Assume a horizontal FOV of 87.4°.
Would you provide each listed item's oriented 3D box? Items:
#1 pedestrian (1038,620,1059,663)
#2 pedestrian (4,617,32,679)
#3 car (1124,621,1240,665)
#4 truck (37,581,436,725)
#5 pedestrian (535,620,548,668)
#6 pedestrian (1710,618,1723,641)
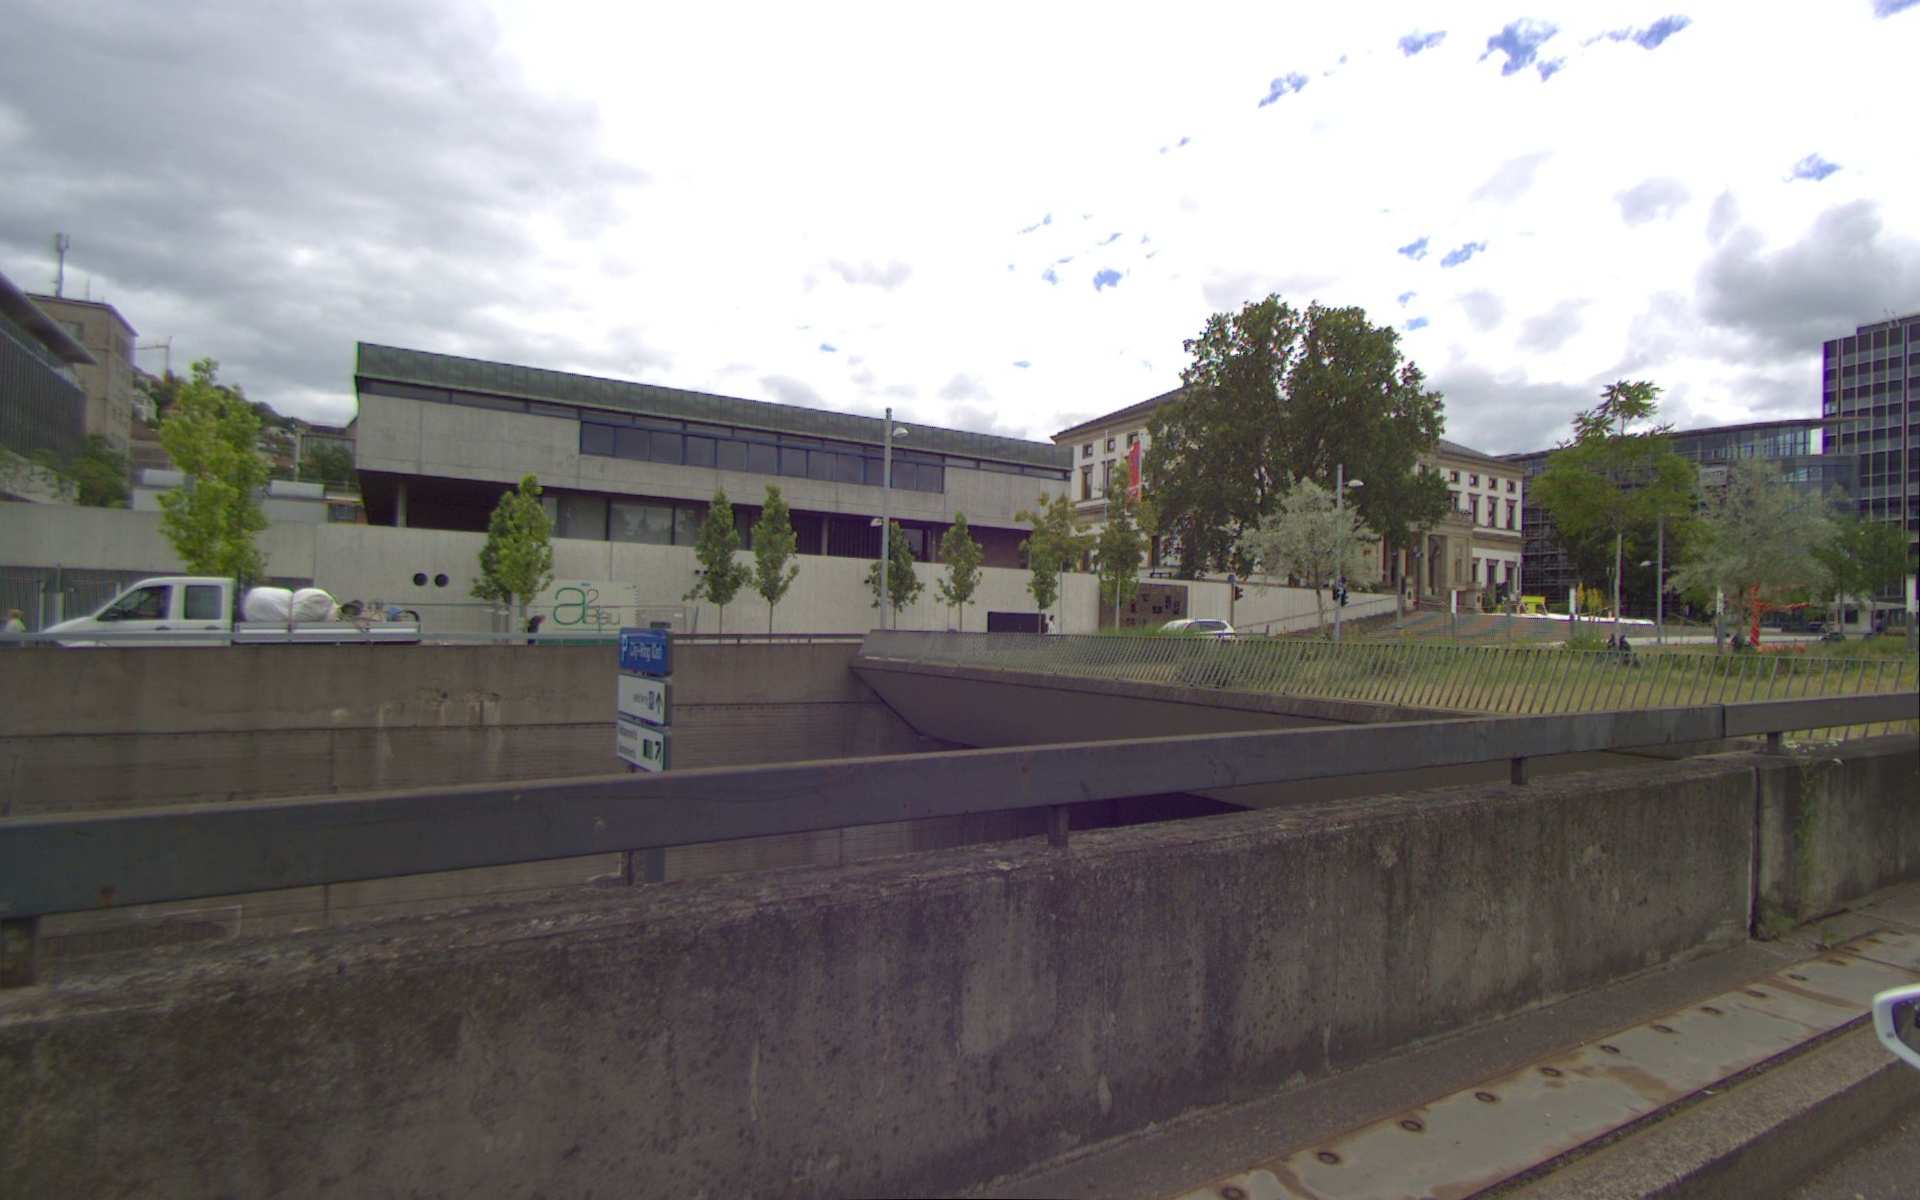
[{"bbox_3d":[3.622,1.684,40.921,0.655,1.757,0.537,0,0,-30],"label":"pedestrian"},{"bbox_3d":[-24.064,1.216,25.657,0.457,1.542,0.424,1,0,-36],"label":"pedestrian"},{"bbox_3d":[8.866,1.678,40.083,4.555,1.595,1.711,0,0,-29],"label":"car"},{"bbox_3d":[-15.761,1.069,22.640,6.990,2.854,2.453,0,0,-29],"label":"truck"},{"bbox_3d":[-13.369,1.400,32.077,0.314,1.542,0.315,1,0,-36],"label":"pedestrian"},{"bbox_3d":[55.935,2.182,74.290,0.643,1.671,0.521,1,0,-31],"label":"pedestrian"}]
